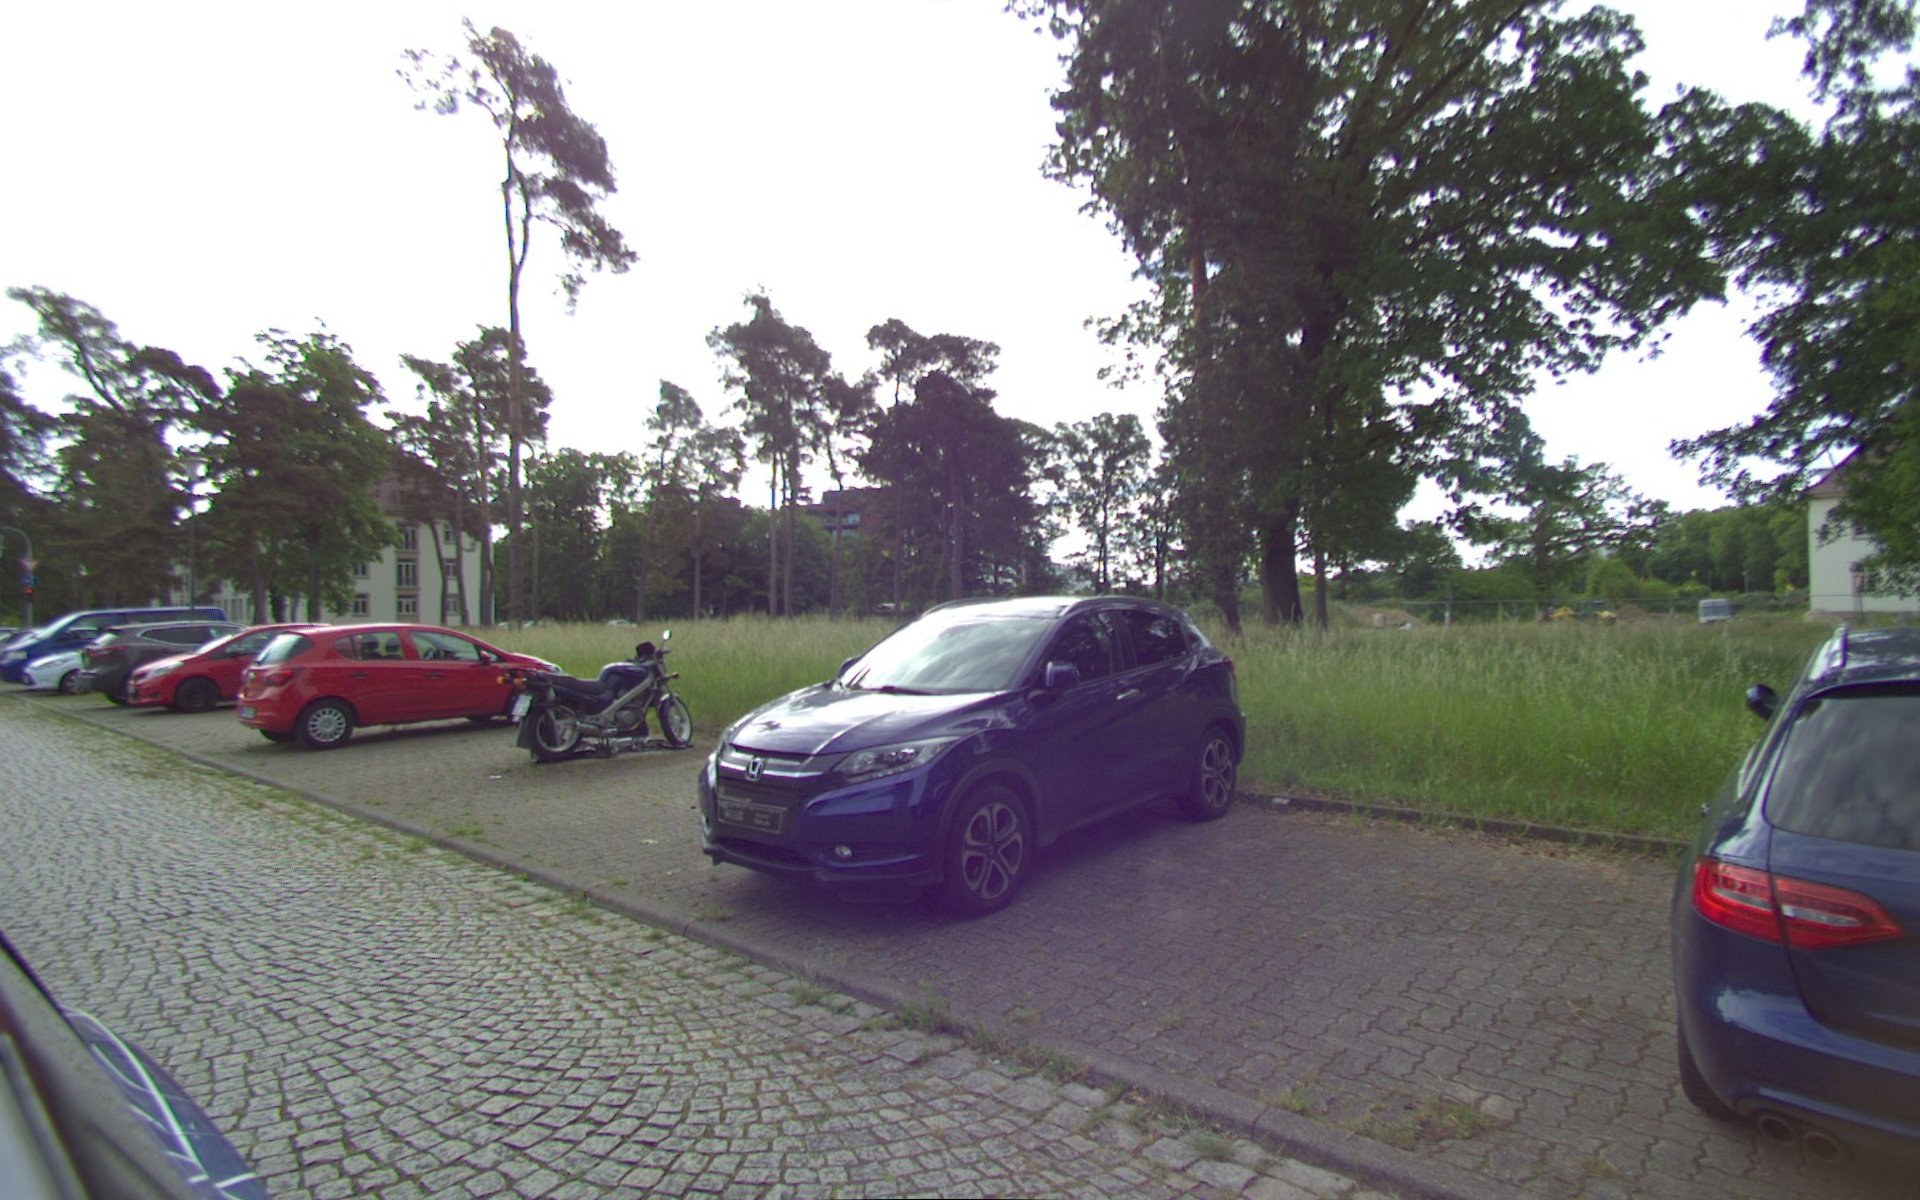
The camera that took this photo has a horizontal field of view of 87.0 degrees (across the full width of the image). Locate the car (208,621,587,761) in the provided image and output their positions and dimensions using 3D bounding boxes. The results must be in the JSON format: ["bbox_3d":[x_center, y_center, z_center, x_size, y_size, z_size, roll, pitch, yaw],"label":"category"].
[{"bbox_3d":[-7.311,1.075,13.466,1.903,1.537,4.014,-2,-2,39],"label":"car"}]

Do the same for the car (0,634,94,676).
[{"bbox_3d":[-35.669,2.070,38.168,1.933,1.519,4.331,-2,-2,39],"label":"car"}]

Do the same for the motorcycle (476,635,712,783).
[{"bbox_3d":[-3.799,1.070,10.684,0.718,1.301,2.250,-2,0,42],"label":"motorcycle"}]

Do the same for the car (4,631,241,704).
[{"bbox_3d":[-19.968,1.554,24.282,1.779,1.522,4.125,-2,-2,39],"label":"car"}]

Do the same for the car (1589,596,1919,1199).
[{"bbox_3d":[3.641,0.737,3.262,1.975,1.472,4.256,-2,-1,42],"label":"car"}]

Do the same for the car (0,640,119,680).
[{"bbox_3d":[-32.059,2.074,35.203,1.831,1.276,4.121,-2,-2,42],"label":"car"}]

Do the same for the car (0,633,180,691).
[{"bbox_3d":[-25.637,1.770,29.766,1.845,1.509,4.024,-2,-2,42],"label":"car"}]

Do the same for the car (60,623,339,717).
[{"bbox_3d":[-15.111,1.314,20.290,1.984,1.634,4.125,-2,-2,38],"label":"car"}]

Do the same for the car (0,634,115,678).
[{"bbox_3d":[-33.681,2.025,36.957,1.863,1.488,4.123,-2,-2,40],"label":"car"}]

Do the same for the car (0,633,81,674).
[{"bbox_3d":[-37.713,2.131,39.996,1.933,1.560,4.210,-2,-2,37],"label":"car"}]

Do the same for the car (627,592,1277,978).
[{"bbox_3d":[0.268,0.788,6.473,1.885,1.589,4.186,-2,-1,40],"label":"car"}]

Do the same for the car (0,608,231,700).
[{"bbox_3d":[-21.878,1.308,26.043,2.114,2.138,4.733,-2,-2,40],"label":"car"}]

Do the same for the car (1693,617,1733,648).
[{"bbox_3d":[56.215,2.412,75.602,1.994,2.217,4.981,-2,-2,33],"label":"car"}]

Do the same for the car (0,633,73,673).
[{"bbox_3d":[-39.587,2.207,42.000,1.904,1.555,3.946,-2,-2,40],"label":"car"}]

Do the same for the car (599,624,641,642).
[{"bbox_3d":[-36.774,3.579,109.461,1.722,1.820,3.942,-2,-2,44],"label":"car"}]

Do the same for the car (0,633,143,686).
[{"bbox_3d":[-28.055,1.823,31.309,1.864,1.503,4.121,-2,-2,42],"label":"car"}]

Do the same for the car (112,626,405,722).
[{"bbox_3d":[-12.840,1.269,18.728,1.906,1.522,4.124,-2,-2,40],"label":"car"}]

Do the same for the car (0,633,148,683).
[{"bbox_3d":[-29.837,1.898,33.722,1.845,1.493,4.122,-2,-2,42],"label":"car"}]
